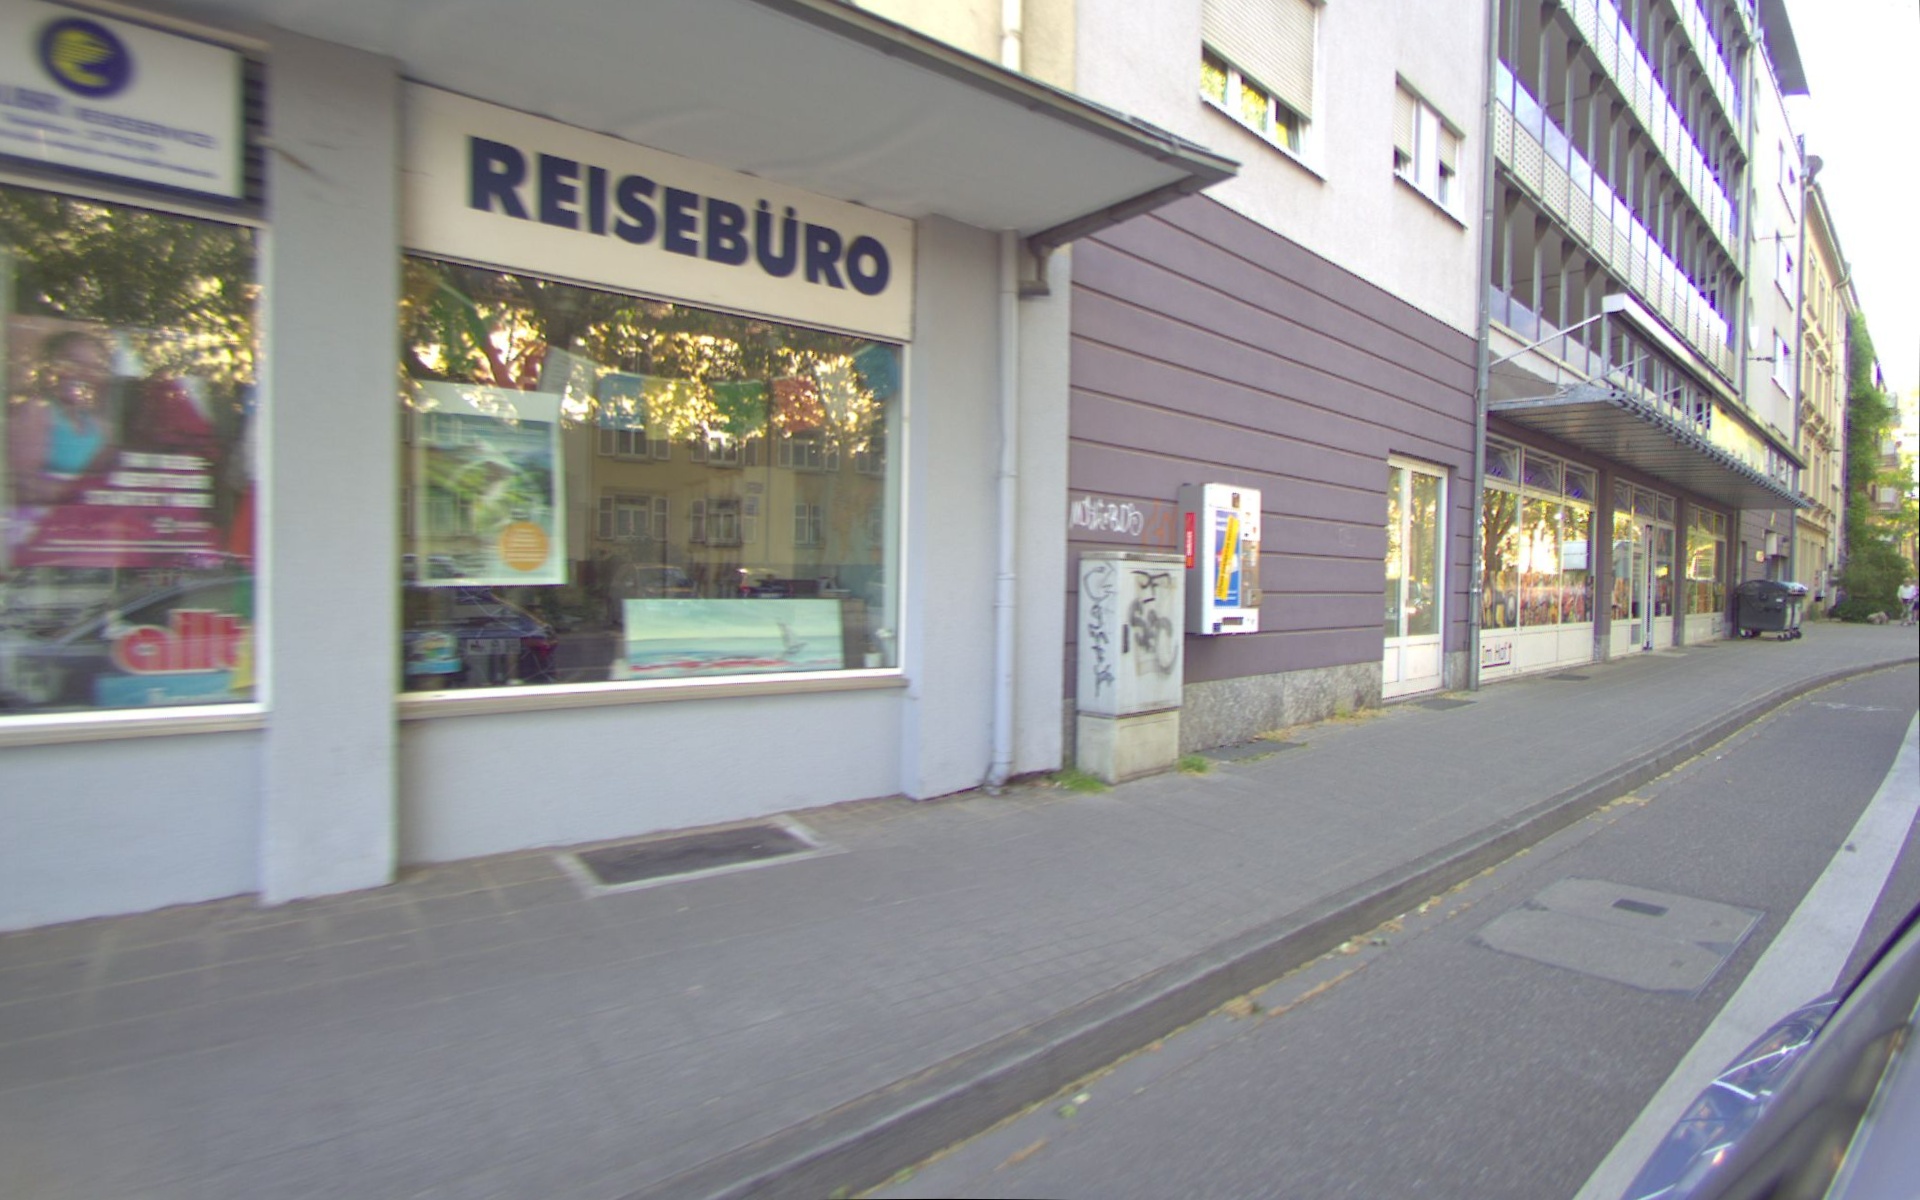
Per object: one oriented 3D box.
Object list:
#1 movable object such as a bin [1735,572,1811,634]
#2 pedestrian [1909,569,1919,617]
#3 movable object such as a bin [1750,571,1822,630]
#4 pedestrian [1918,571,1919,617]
[{"bbox_3d":[19.568,0.052,24.355,1.348,1.427,1.203,-1,2,-42],"label":"movable object such as a bin"},{"bbox_3d":[34.290,-0.240,36.092,0.619,1.693,0.540,0,2,-42],"label":"pedestrian"},{"bbox_3d":[20.994,-0.004,25.710,1.348,1.427,1.203,-1,2,-42],"label":"movable object such as a bin"},{"bbox_3d":[35.815,-0.222,37.393,0.504,1.693,0.540,0,2,-42],"label":"pedestrian"}]
